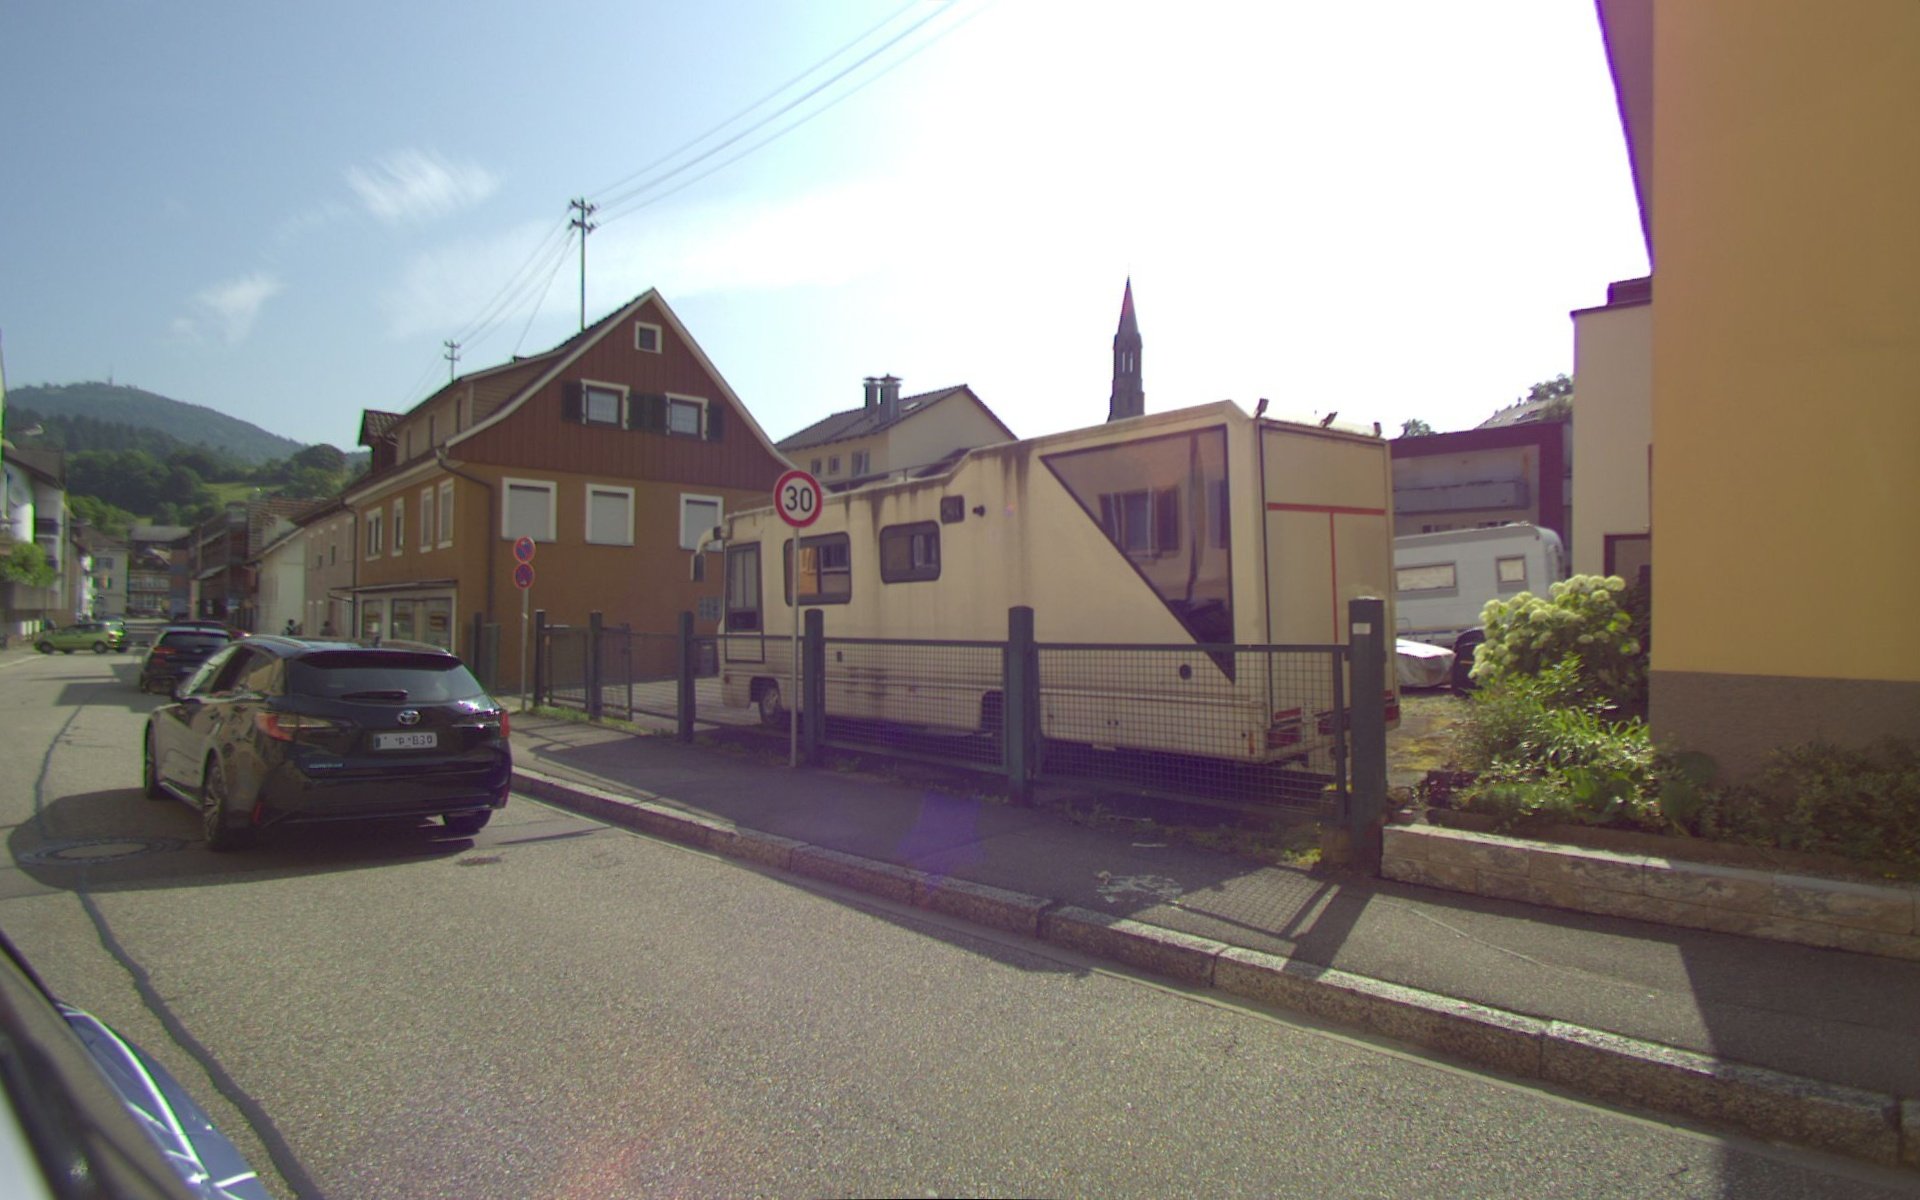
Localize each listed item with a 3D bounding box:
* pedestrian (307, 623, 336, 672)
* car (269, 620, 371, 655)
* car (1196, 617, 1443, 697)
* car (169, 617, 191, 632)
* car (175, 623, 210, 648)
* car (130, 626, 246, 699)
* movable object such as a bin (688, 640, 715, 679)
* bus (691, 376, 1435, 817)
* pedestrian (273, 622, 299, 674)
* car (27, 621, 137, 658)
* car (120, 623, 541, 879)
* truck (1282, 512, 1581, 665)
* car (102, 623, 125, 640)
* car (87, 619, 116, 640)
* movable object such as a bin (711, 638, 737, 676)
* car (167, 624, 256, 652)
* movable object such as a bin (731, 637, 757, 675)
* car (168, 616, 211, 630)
[{"bbox_3d":[-21.141,1.559,33.520,0.725,1.576,0.826,-1,-1,-38],"label":"pedestrian"},{"bbox_3d":[-31.182,1.814,49.351,3.938,1.606,1.910,0,-1,-42],"label":"car"},{"bbox_3d":[6.528,1.025,18.701,1.574,1.278,4.005,-1,-1,-42],"label":"car"},{"bbox_3d":[-91.499,2.853,118.712,1.760,1.587,3.895,-2,0,-40],"label":"car"},{"bbox_3d":[-57.118,2.649,75.318,1.699,1.810,4.274,2,-2,-42],"label":"car"},{"bbox_3d":[-17.769,1.390,23.220,1.726,1.464,4.033,7,-5,-41],"label":"car"},{"bbox_3d":[-6.402,1.460,25.050,0.471,0.929,0.487,0,-1,-39],"label":"movable object such as a bin"},{"bbox_3d":[0.293,0.040,11.772,2.786,3.252,9.047,-1,0,-42],"label":"bus"},{"bbox_3d":[-21.923,1.540,32.896,0.631,1.638,0.779,-1,-1,-38],"label":"pedestrian"},{"bbox_3d":[-41.500,1.879,47.891,3.604,1.475,1.603,3,-4,-5],"label":"car"},{"bbox_3d":[-5.068,0.982,7.887,4.258,1.460,1.641,-2,-6,43],"label":"car"},{"bbox_3d":[10.641,-0.137,23.135,5.734,3.082,2.382,-3,-2,39],"label":"truck"},{"bbox_3d":[-104.703,3.868,125.151,3.839,2.029,1.719,-1,-2,43],"label":"car"},{"bbox_3d":[-83.475,2.844,98.387,1.970,2.029,4.004,0,-1,-43],"label":"car"},{"bbox_3d":[-5.943,1.417,25.449,0.471,0.929,0.487,0,-1,-39],"label":"movable object such as a bin"},{"bbox_3d":[-44.731,2.285,60.546,3.930,1.675,1.829,1,-3,-23],"label":"car"},{"bbox_3d":[-5.512,1.418,25.800,0.471,0.929,0.487,0,-1,-39],"label":"movable object such as a bin"},{"bbox_3d":[-96.167,2.877,126.277,1.834,1.697,3.944,-3,-4,41],"label":"car"}]
